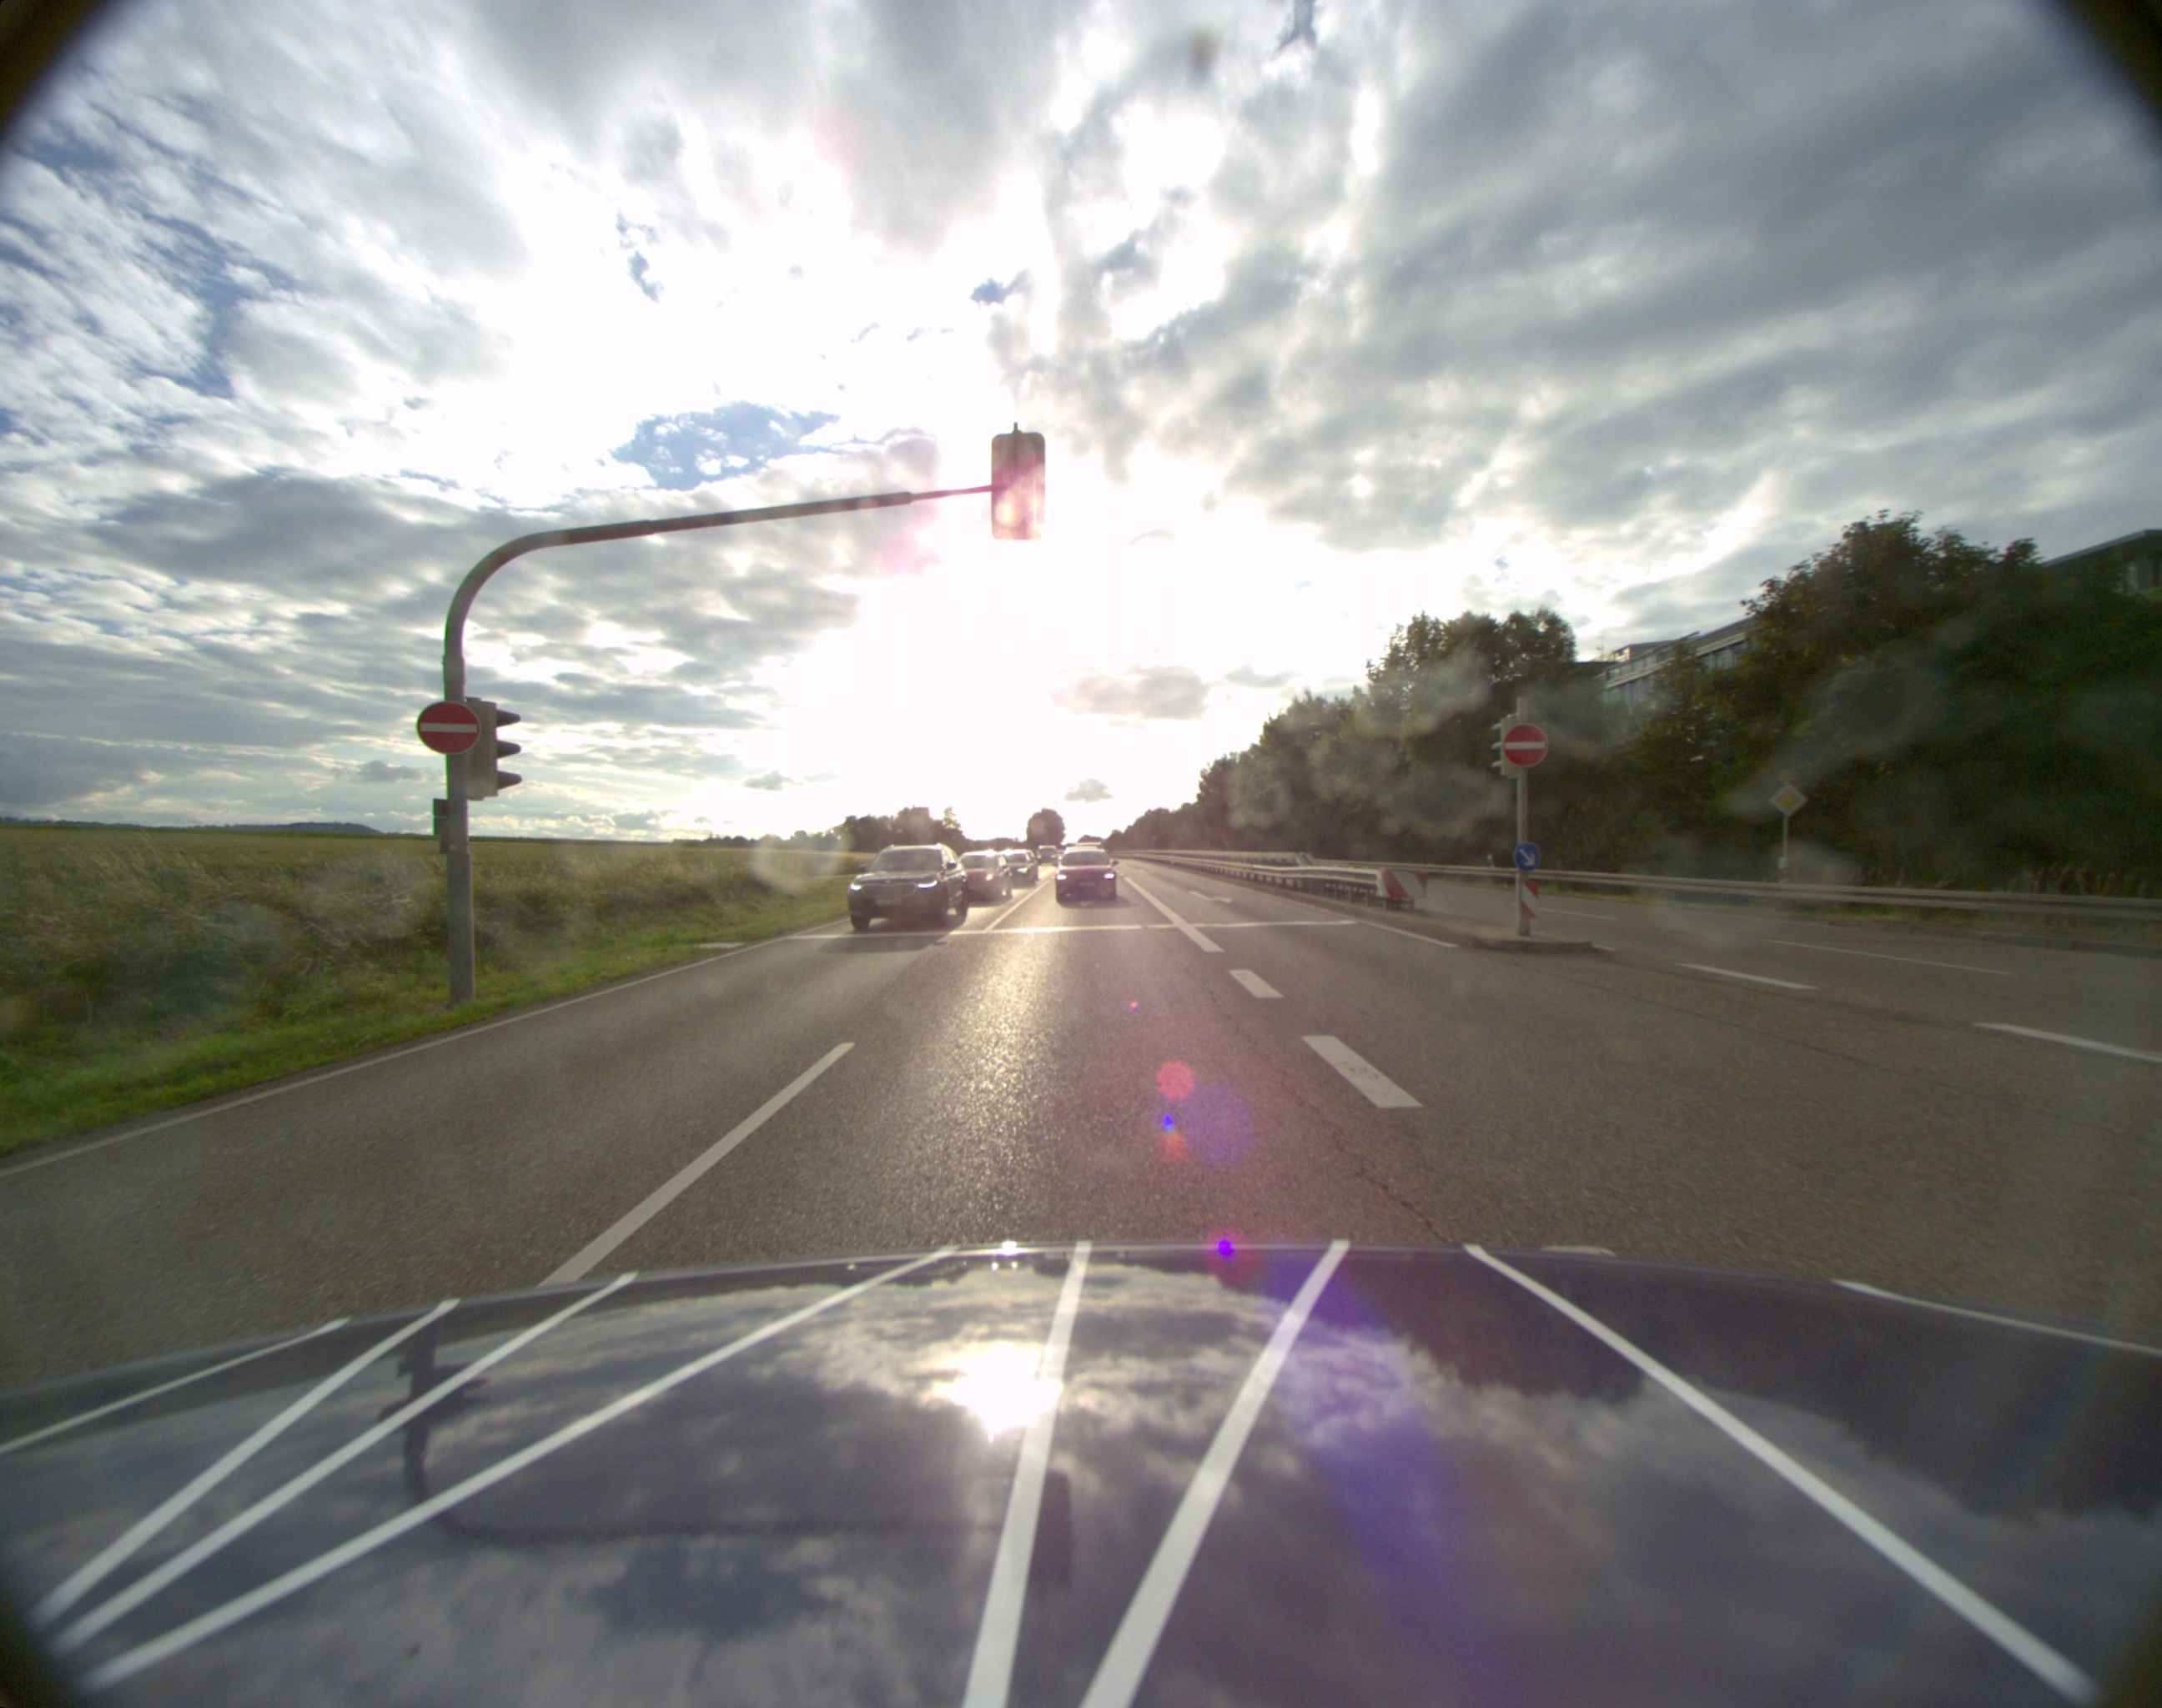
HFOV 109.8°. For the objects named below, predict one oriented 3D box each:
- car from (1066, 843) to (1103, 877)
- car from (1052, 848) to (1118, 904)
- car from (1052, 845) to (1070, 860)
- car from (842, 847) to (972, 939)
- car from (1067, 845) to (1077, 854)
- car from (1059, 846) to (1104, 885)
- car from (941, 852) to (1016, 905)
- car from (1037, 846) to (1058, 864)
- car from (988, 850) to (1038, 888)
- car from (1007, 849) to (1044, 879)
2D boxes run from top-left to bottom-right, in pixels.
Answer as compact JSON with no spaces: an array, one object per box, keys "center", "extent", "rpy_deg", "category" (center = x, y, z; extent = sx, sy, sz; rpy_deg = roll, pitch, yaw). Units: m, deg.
[{"center":[0.215,0.274,39.874],"extent":[1.786,1.624,3.865],"rpy_deg":[-2,0,2],"category":"car"},{"center":[0.163,0.581,22.487],"extent":[1.723,1.467,3.728],"rpy_deg":[-2,0,2],"category":"car"},{"center":[-2.514,-0.257,95.845],"extent":[1.998,1.740,3.999],"rpy_deg":[3,1,0],"category":"car"},{"center":[-3.593,0.720,16.503],"extent":[1.723,1.658,4.418],"rpy_deg":[-2,0,0],"category":"car"},{"center":[-2.074,-1.056,173.892],"extent":[1.999,2.002,3.999],"rpy_deg":[-2,1,-1],"category":"car"},{"center":[0.020,0.429,32.196],"extent":[1.758,1.543,3.999],"rpy_deg":[-1,1,0],"category":"car"},{"center":[-3.147,0.701,24.070],"extent":[1.669,1.467,3.865],"rpy_deg":[-2,0,2],"category":"car"},{"center":[-3.318,0.079,76.504],"extent":[1.949,1.652,3.999],"rpy_deg":[-1,1,0],"category":"car"},{"center":[-2.879,0.614,32.709],"extent":[1.723,1.467,3.865],"rpy_deg":[-2,0,0],"category":"car"},{"center":[-2.862,0.501,39.818],"extent":[1.631,1.467,3.474],"rpy_deg":[-2,0,0],"category":"car"}]
